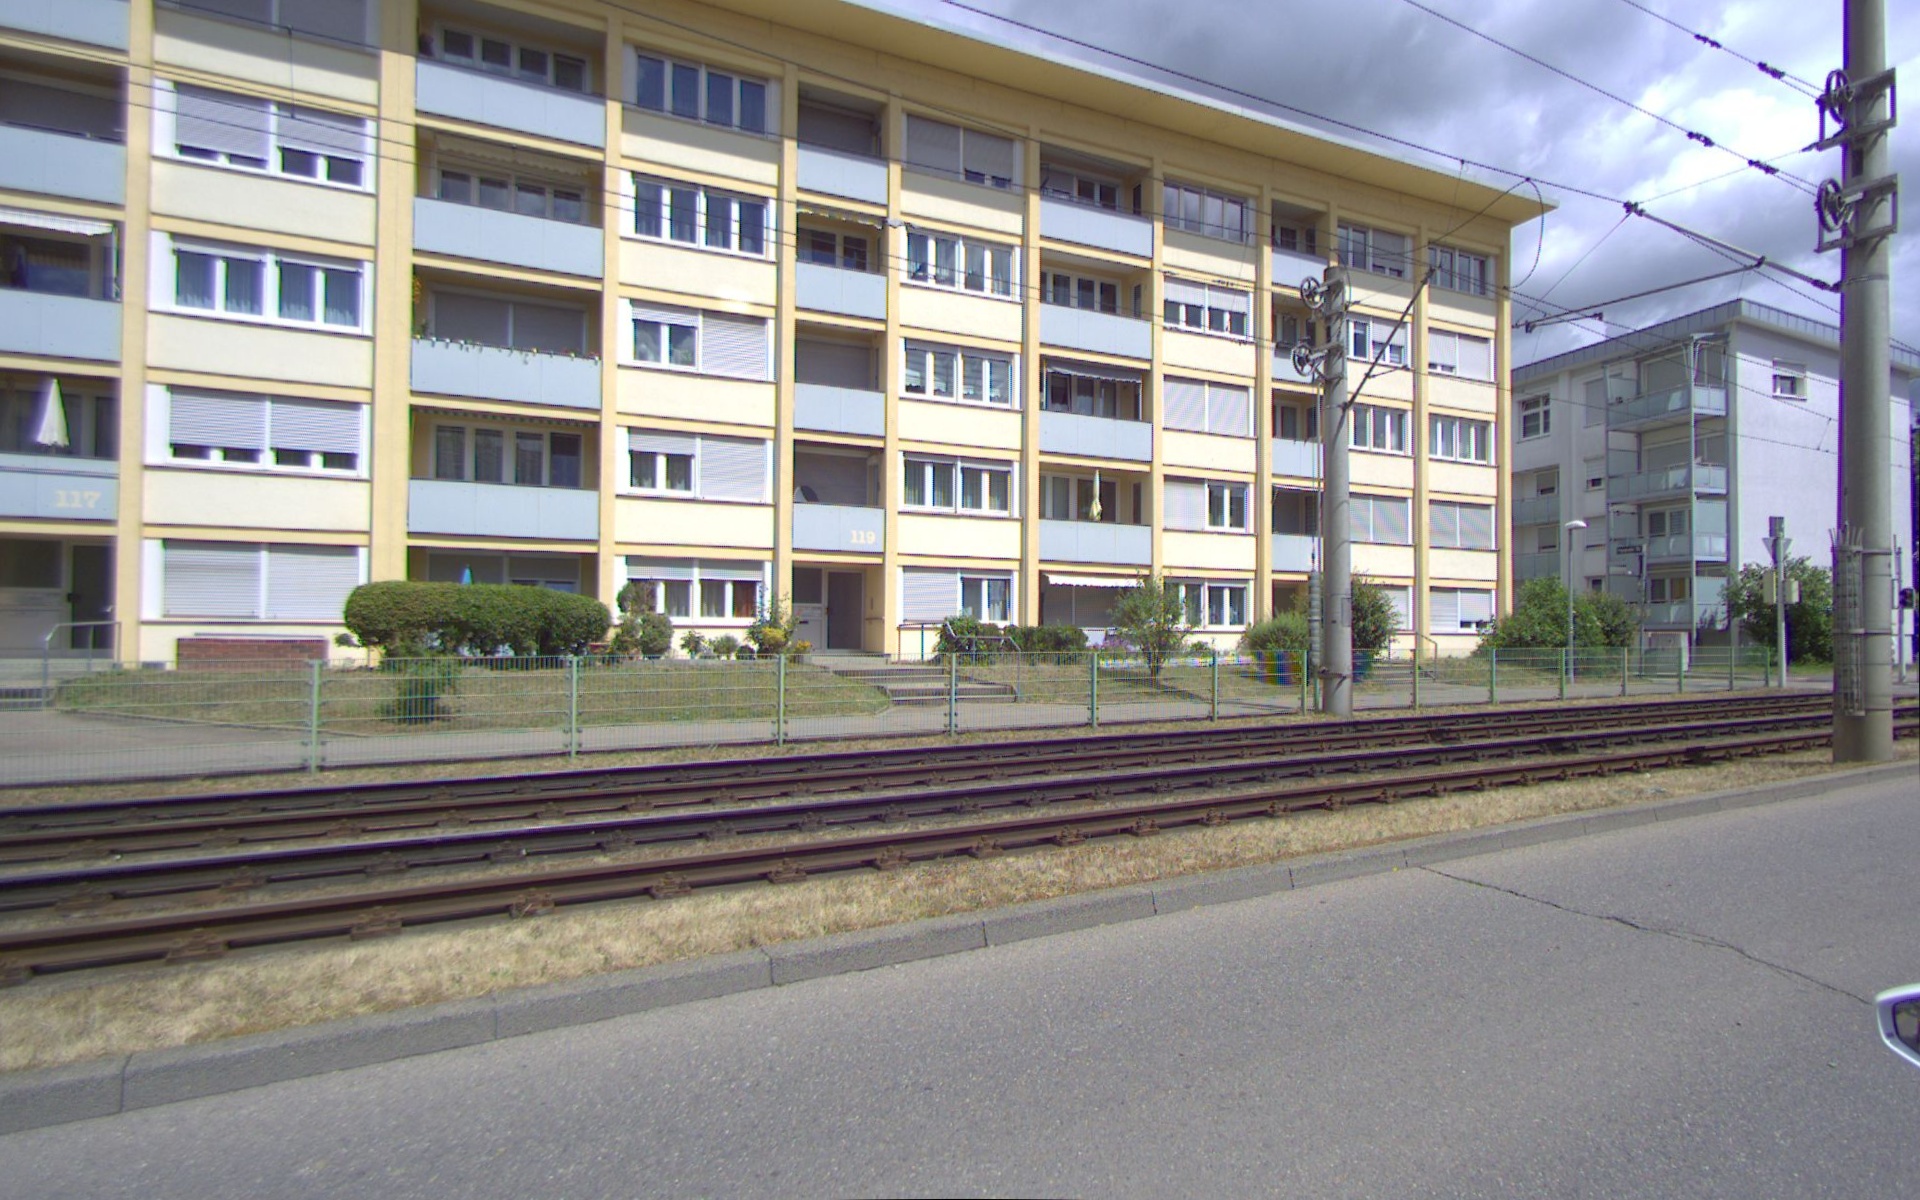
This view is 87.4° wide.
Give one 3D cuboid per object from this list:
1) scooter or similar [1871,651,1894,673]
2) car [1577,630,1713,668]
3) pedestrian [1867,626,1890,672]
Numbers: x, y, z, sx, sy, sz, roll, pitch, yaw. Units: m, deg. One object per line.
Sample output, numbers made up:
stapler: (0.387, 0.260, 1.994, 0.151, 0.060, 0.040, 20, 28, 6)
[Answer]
scooter or similar: (31.578, 2.120, 34.376, 0.468, 0.757, 0.436, 1, -1, -25)
car: (26.342, 1.838, 38.784, 1.873, 1.363, 3.980, 1, -2, -21)
pedestrian: (31.881, 1.694, 34.857, 0.468, 1.601, 0.436, 1, -1, -25)
